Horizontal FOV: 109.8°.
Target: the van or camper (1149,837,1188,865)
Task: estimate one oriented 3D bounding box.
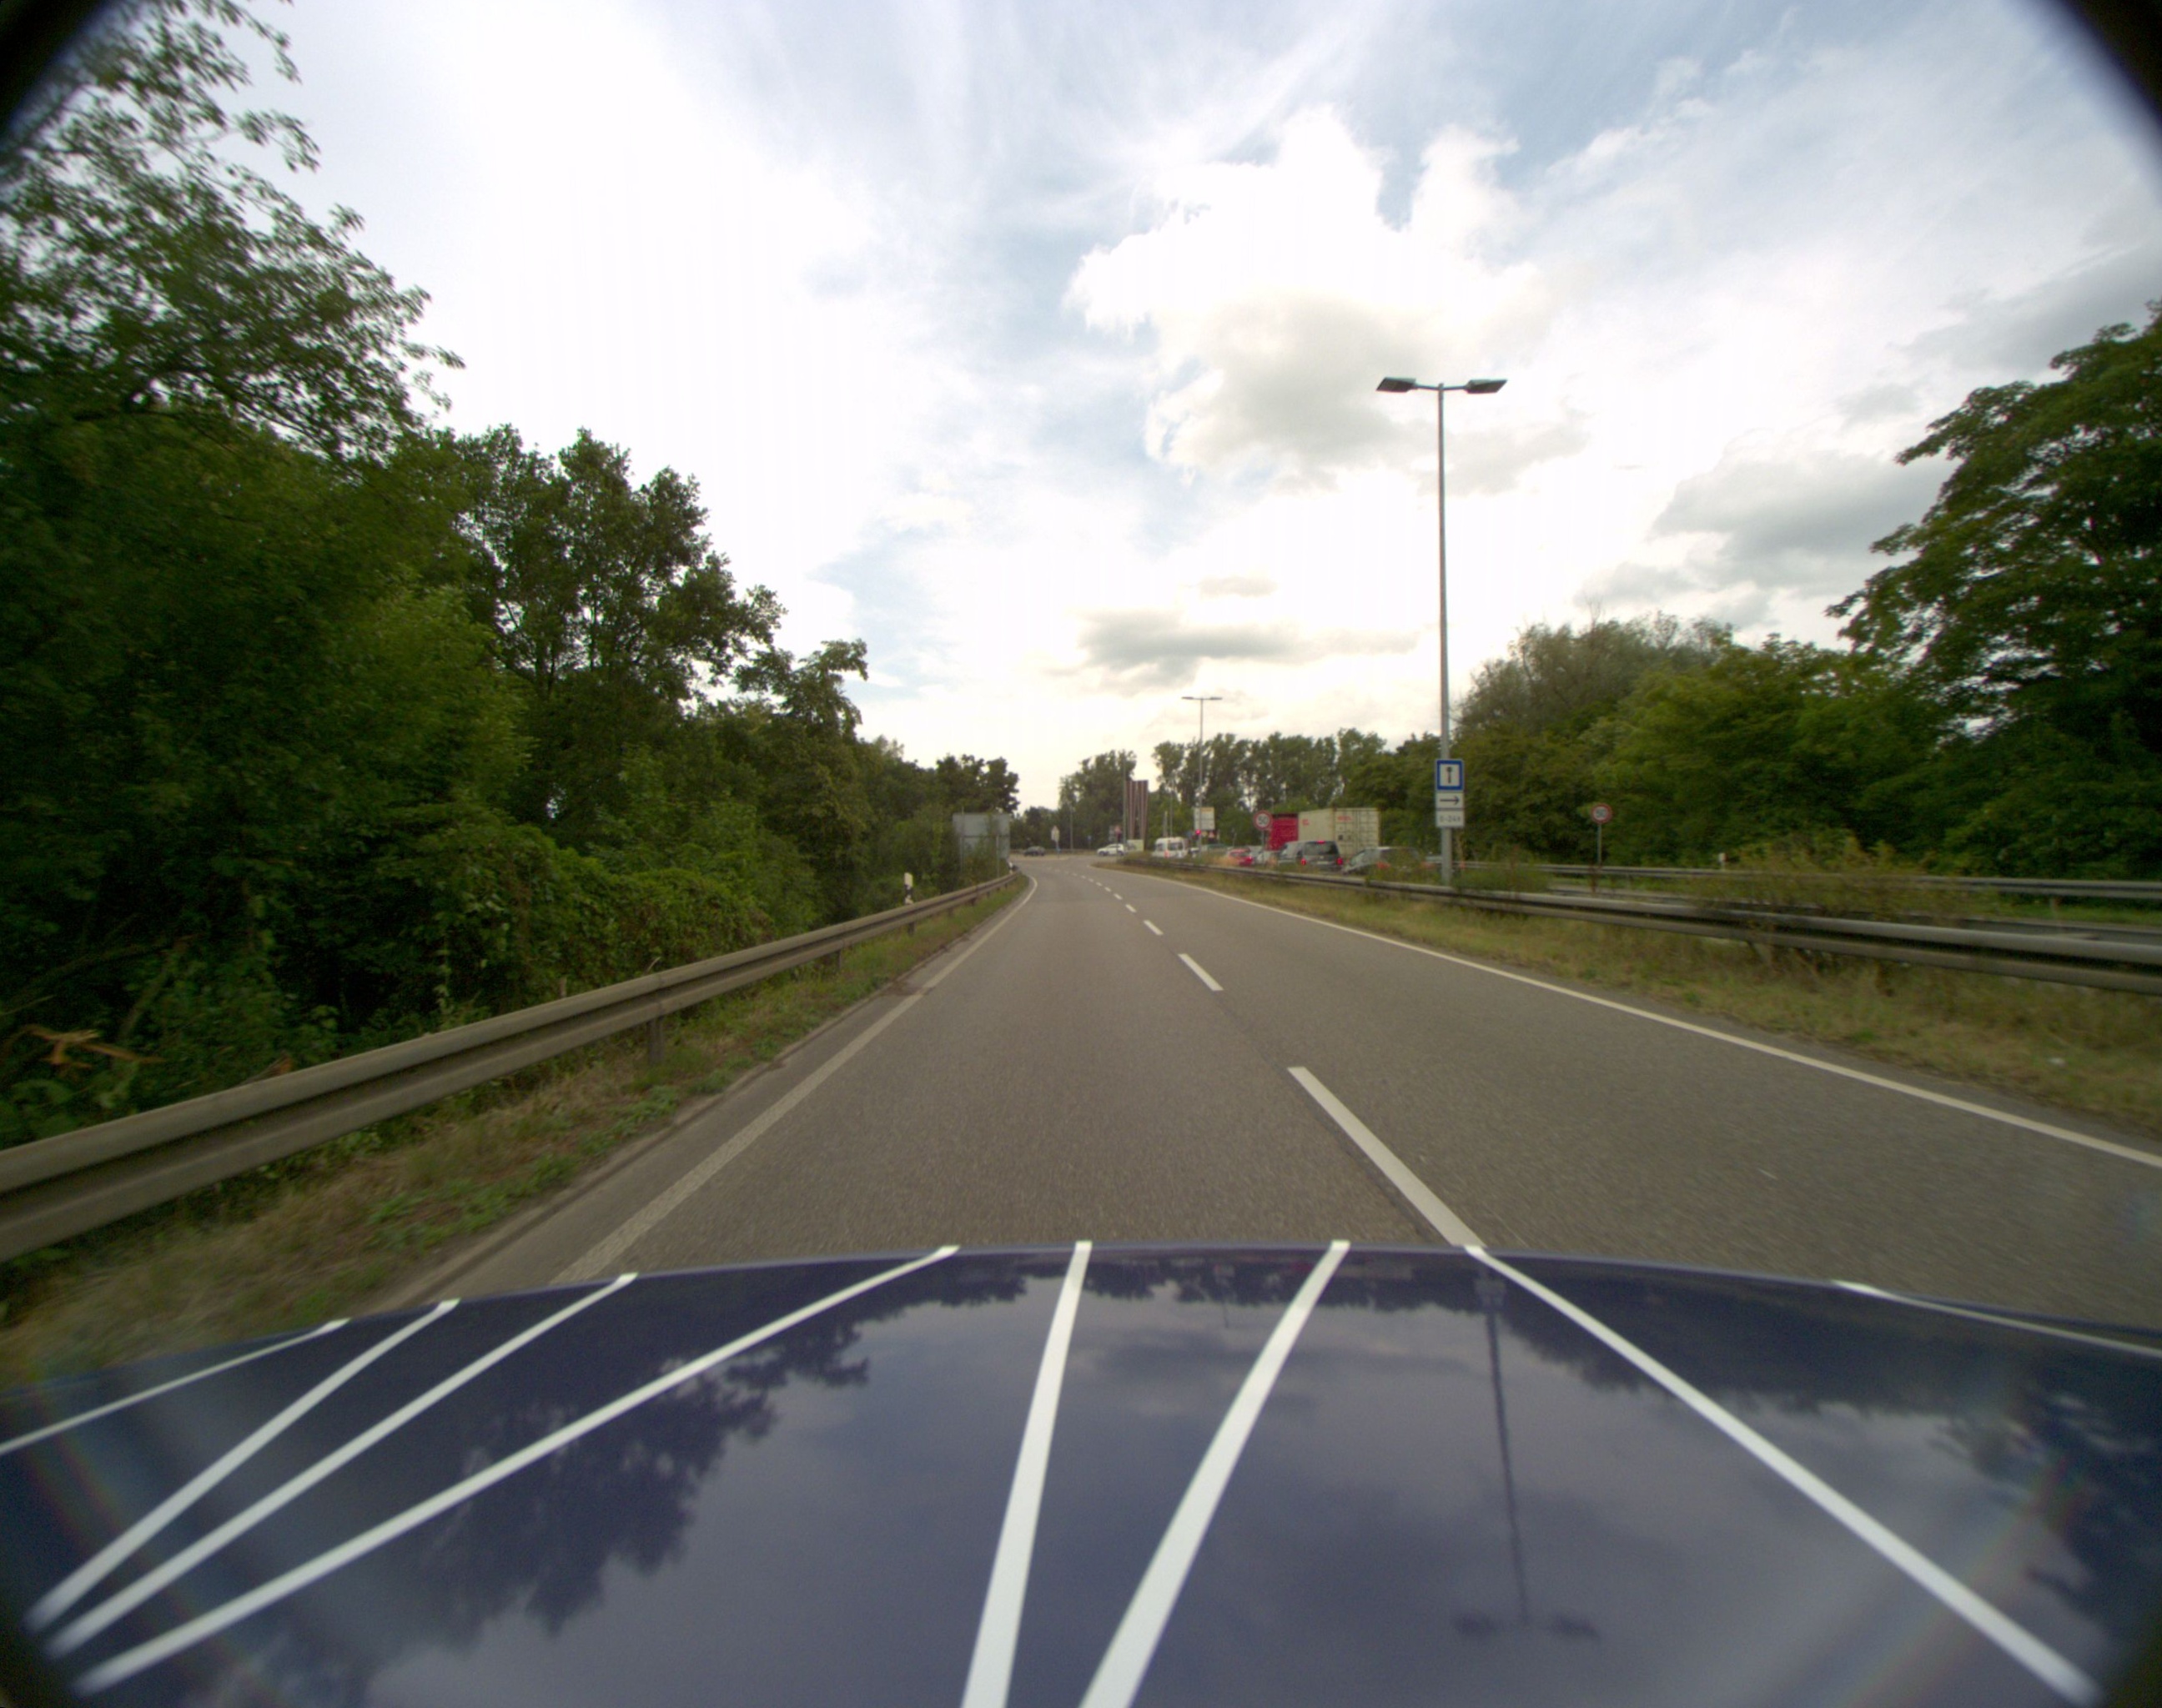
[{"bbox_3d":[8.727,-0.351,76.169,2.167,2.574,6.489,-2,1,-9],"label":"van or camper"}]

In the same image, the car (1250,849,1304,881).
[{"bbox_3d":[11.205,0.582,43.772,1.845,1.657,4.333,-2,1,-2],"label":"car"}]

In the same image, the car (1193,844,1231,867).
[{"bbox_3d":[10.468,0.067,60.919,1.809,1.719,4.957,-2,1,-4],"label":"car"}]

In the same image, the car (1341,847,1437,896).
[{"bbox_3d":[10.696,0.553,26.704,1.771,1.498,3.938,-1,1,0],"label":"car"}]

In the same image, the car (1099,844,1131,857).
[{"bbox_3d":[4.994,-0.559,111.795,4.249,1.773,1.929,-1,2,15],"label":"car"}]

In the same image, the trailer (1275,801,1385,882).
[{"bbox_3d":[14.154,-0.750,44.342,2.541,4.124,10.767,-2,1,-2],"label":"trailer"}]

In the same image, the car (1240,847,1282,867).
[{"bbox_3d":[13.903,0.206,58.978,1.809,1.458,4.275,-2,1,-6],"label":"car"}]

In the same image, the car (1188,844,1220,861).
[{"bbox_3d":[12.556,-0.192,77.661,2.000,1.538,4.535,-2,1,-7],"label":"car"}]

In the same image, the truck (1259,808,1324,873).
[{"bbox_3d":[13.983,-0.915,50.923,2.575,4.060,5.620,-2,1,-2],"label":"truck"}]

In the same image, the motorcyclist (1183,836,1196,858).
[{"bbox_3d":[9.264,-0.628,64.758,0.868,1.813,0.924,-2,2,-8],"label":"motorcyclist"}]

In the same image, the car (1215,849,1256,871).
[{"bbox_3d":[10.903,0.399,53.916,1.809,1.424,4.123,-2,1,-3],"label":"car"}]

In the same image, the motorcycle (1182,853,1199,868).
[{"bbox_3d":[9.312,0.544,64.843,0.801,1.218,2.324,-2,1,-9],"label":"motorcycle"}]

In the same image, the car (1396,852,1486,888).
[{"bbox_3d":[14.787,0.600,31.443,1.824,1.281,3.999,-2,1,0],"label":"car"}]

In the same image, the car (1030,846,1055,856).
[{"bbox_3d":[-6.234,-0.456,121.722,2.003,1.480,4.366,-3,2,-33],"label":"car"}]

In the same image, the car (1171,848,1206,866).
[{"bbox_3d":[9.655,0.244,68.428,2.000,1.490,4.396,-2,1,-8],"label":"car"}]

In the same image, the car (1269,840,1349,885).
[{"bbox_3d":[10.548,0.321,35.551,2.015,1.853,5.276,-2,1,-2],"label":"car"}]
